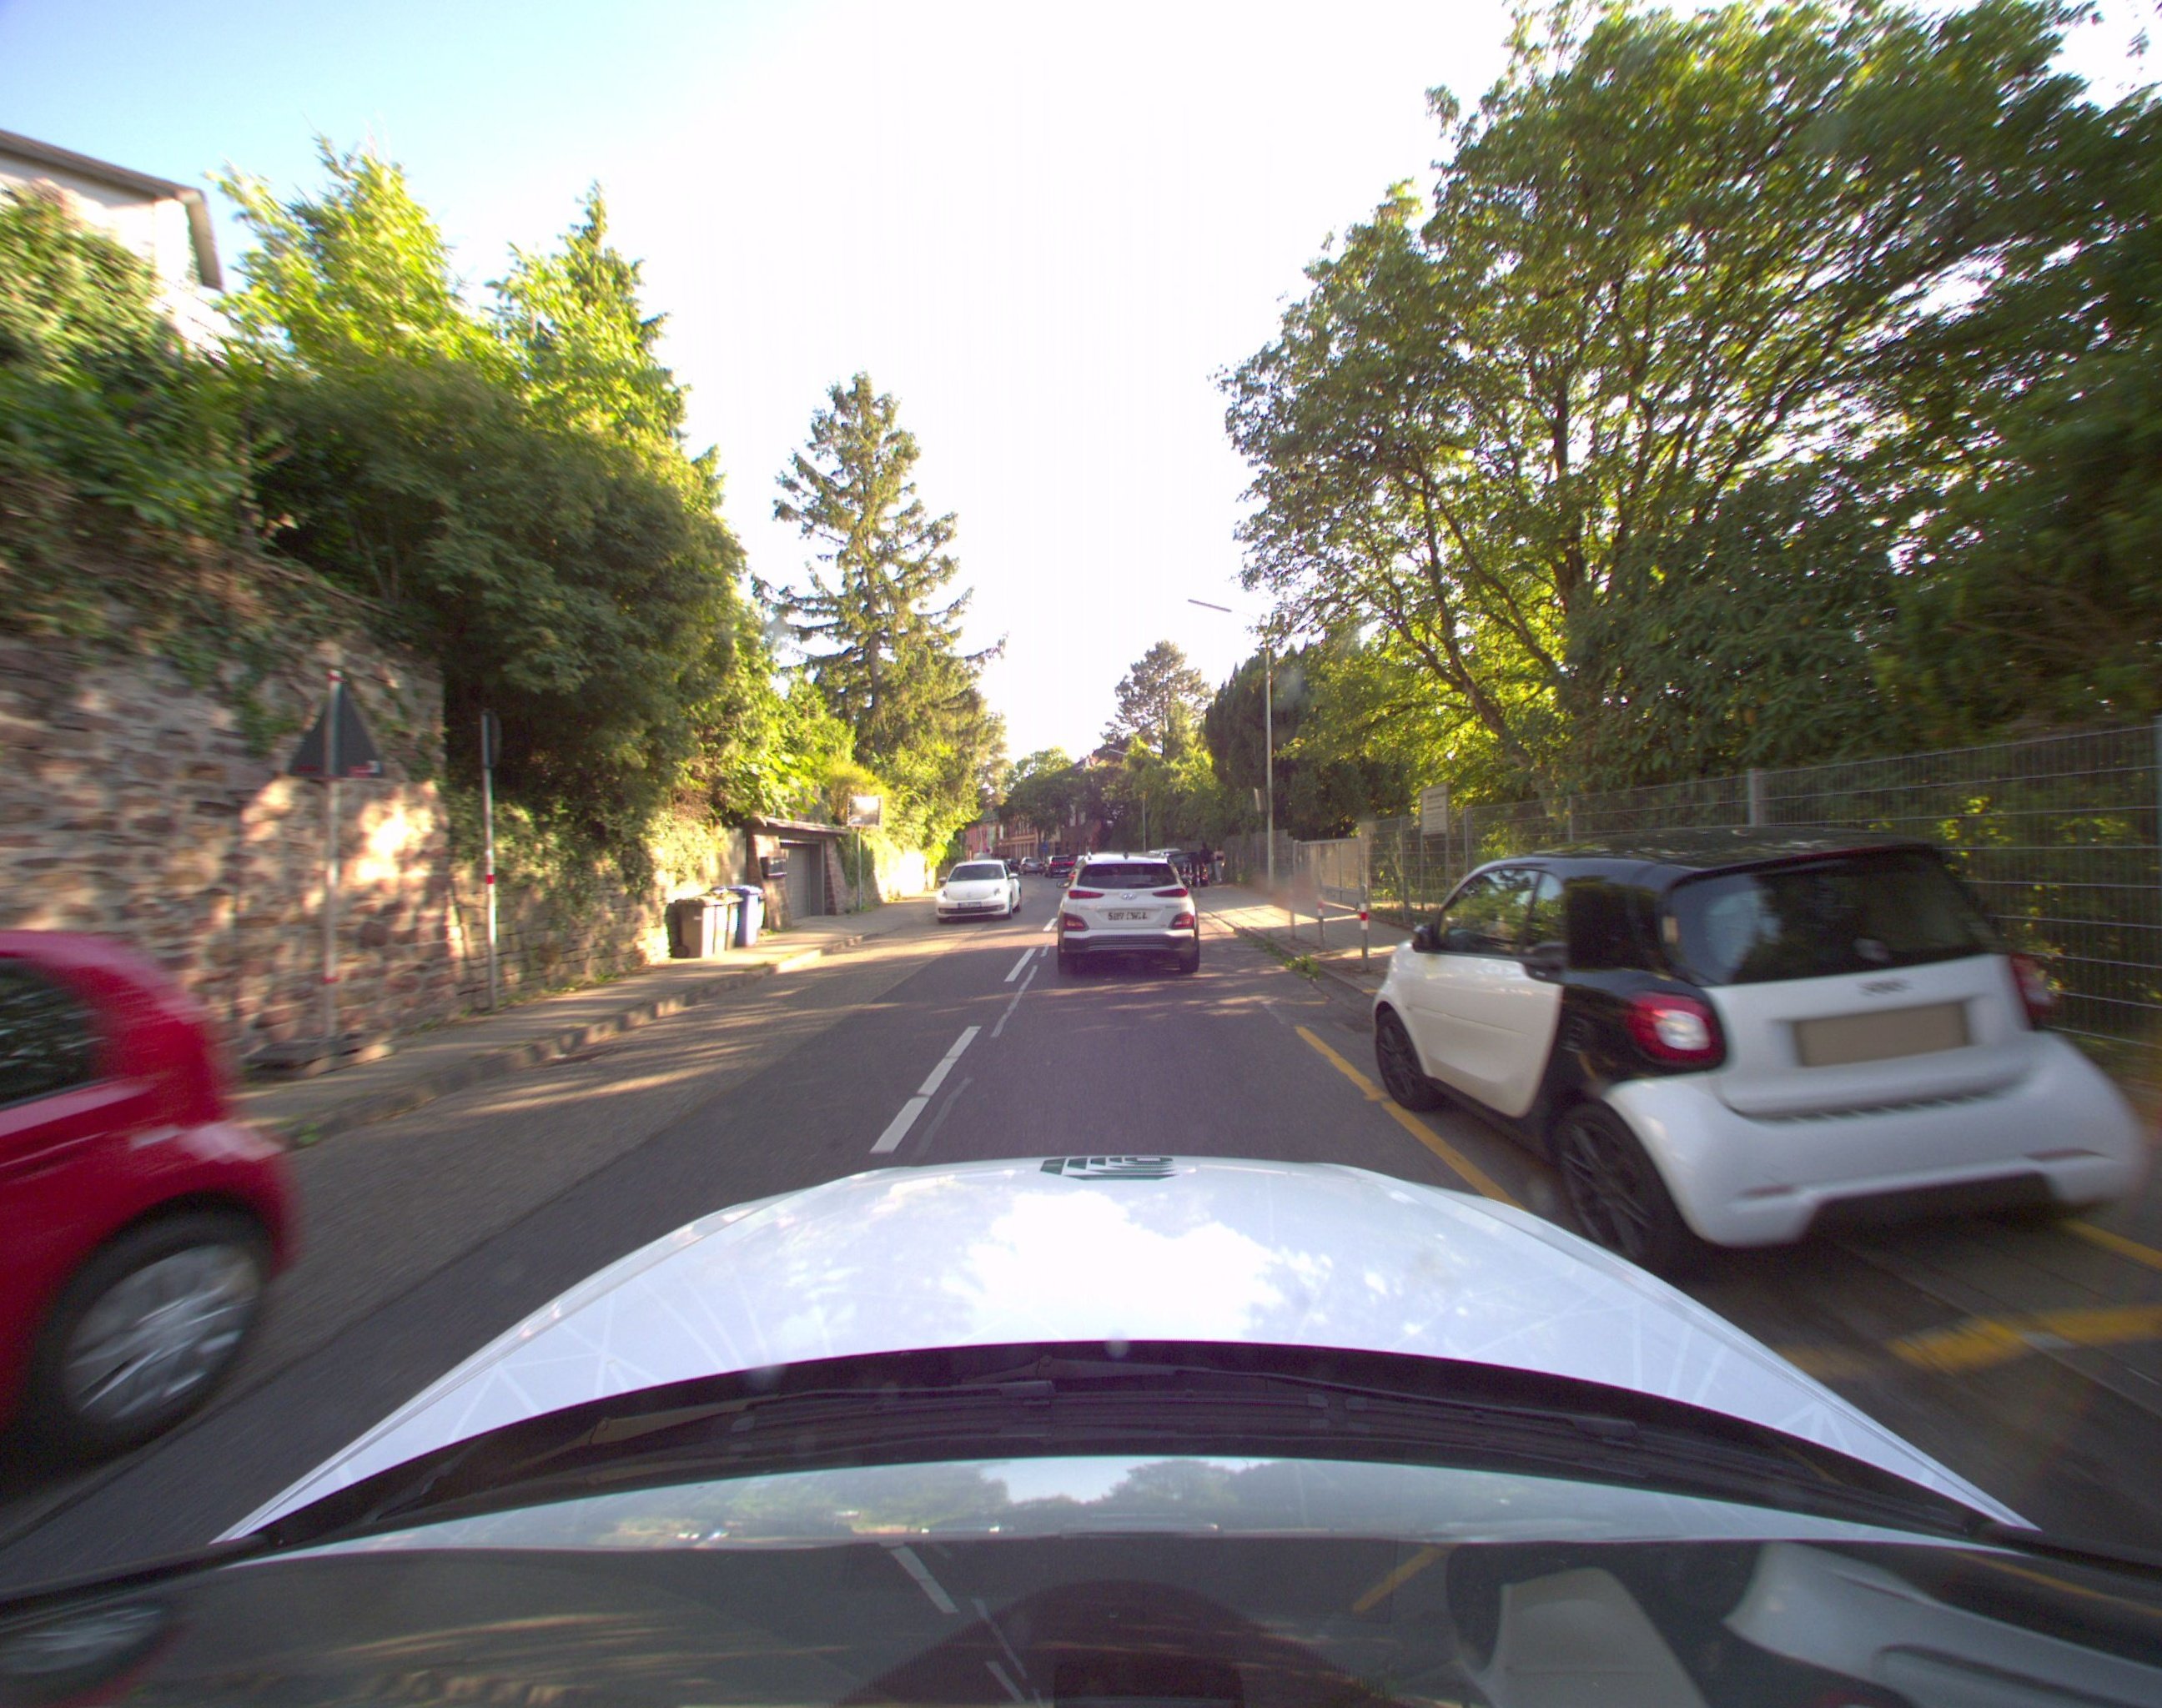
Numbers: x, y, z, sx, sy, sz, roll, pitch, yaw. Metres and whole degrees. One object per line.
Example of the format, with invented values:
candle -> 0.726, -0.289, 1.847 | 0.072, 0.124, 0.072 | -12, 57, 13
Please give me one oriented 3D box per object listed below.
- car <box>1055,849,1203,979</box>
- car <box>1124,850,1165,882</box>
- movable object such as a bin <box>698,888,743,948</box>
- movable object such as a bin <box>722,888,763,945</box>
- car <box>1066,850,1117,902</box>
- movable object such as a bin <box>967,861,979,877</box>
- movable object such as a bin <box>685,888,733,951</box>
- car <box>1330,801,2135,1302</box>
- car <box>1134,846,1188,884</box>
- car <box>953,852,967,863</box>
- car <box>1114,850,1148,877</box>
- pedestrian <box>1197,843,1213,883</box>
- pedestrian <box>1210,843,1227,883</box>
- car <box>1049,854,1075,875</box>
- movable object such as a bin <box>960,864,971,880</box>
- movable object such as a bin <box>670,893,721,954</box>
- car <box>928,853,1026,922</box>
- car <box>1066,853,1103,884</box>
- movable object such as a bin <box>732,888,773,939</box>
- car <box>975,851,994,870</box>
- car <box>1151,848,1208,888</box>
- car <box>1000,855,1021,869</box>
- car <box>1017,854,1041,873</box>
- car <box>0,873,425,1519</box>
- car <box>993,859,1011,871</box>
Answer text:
car -> 0.659, 0.726, 11.840 | 1.765, 1.542, 4.002 | -1, 0, 2
car -> 3.332, 0.609, 43.464 | 1.590, 1.519, 3.928 | -4, 0, -3
movable object such as a bin -> -6.098, 1.069, 13.782 | 0.571, 0.985, 0.438 | 0, -1, -1
movable object such as a bin -> -5.971, 1.094, 14.374 | 0.488, 0.964, 0.583 | 0, 0, -1
car -> 0.312, 0.648, 26.536 | 1.507, 1.533, 3.546 | -2, 0, -1
movable object such as a bin -> -8.049, 1.132, 60.684 | 0.789, 1.189, 0.773 | 0, -1, 0
movable object such as a bin -> -6.067, 1.063, 13.293 | 0.571, 0.985, 0.438 | 0, -1, -1
car -> 2.597, 0.617, 4.109 | 1.621, 1.509, 2.901 | -4, 1, -2
car -> 3.662, 0.500, 38.003 | 1.592, 1.565, 3.990 | -4, 0, -7
car -> -21.014, 0.629, 141.162 | 1.723, 1.936, 3.973 | -2, 0, -20
car -> 2.975, 0.548, 48.947 | 1.590, 1.489, 3.598 | -4, 0, -3
pedestrian -> 5.083, 0.372, 33.322 | 0.501, 1.606, 0.491 | -4, 0, 1
pedestrian -> 5.617, 0.370, 33.292 | 0.501, 1.569, 0.504 | -4, 0, 1
car -> -1.425, 0.777, 59.422 | 1.591, 1.461, 3.091 | -2, 0, -7
movable object such as a bin -> -7.164, 1.102, 50.700 | 0.493, 1.011, 1.113 | 0, -1, 1
movable object such as a bin -> -6.069, 1.087, 12.834 | 0.582, 0.937, 0.438 | 0, -1, -1
car -> -2.561, 0.790, 20.943 | 1.734, 1.474, 4.002 | -5, -1, 2
car -> 0.137, 0.701, 40.556 | 1.568, 1.477, 3.542 | -1, 0, -4
movable object such as a bin -> -6.100, 1.100, 15.135 | 0.571, 0.925, 0.438 | 0, 0, -1
car -> -13.919, 0.961, 117.241 | 1.934, 2.583, 4.368 | -3, 0, -17
car -> 3.890, 0.527, 32.742 | 1.681, 1.431, 3.998 | -4, 0, -1
car -> -8.573, 0.921, 98.949 | 1.759, 1.616, 3.979 | 0, 0, -16
car -> -4.753, 0.874, 73.558 | 1.592, 1.582, 3.345 | -2, 0, -13
car -> -3.332, 0.851, 1.287 | 1.544, 1.466, 3.570 | -3, 0, 2
car -> -8.784, 1.181, 90.374 | 1.529, 1.260, 3.345 | -2, 0, -13
